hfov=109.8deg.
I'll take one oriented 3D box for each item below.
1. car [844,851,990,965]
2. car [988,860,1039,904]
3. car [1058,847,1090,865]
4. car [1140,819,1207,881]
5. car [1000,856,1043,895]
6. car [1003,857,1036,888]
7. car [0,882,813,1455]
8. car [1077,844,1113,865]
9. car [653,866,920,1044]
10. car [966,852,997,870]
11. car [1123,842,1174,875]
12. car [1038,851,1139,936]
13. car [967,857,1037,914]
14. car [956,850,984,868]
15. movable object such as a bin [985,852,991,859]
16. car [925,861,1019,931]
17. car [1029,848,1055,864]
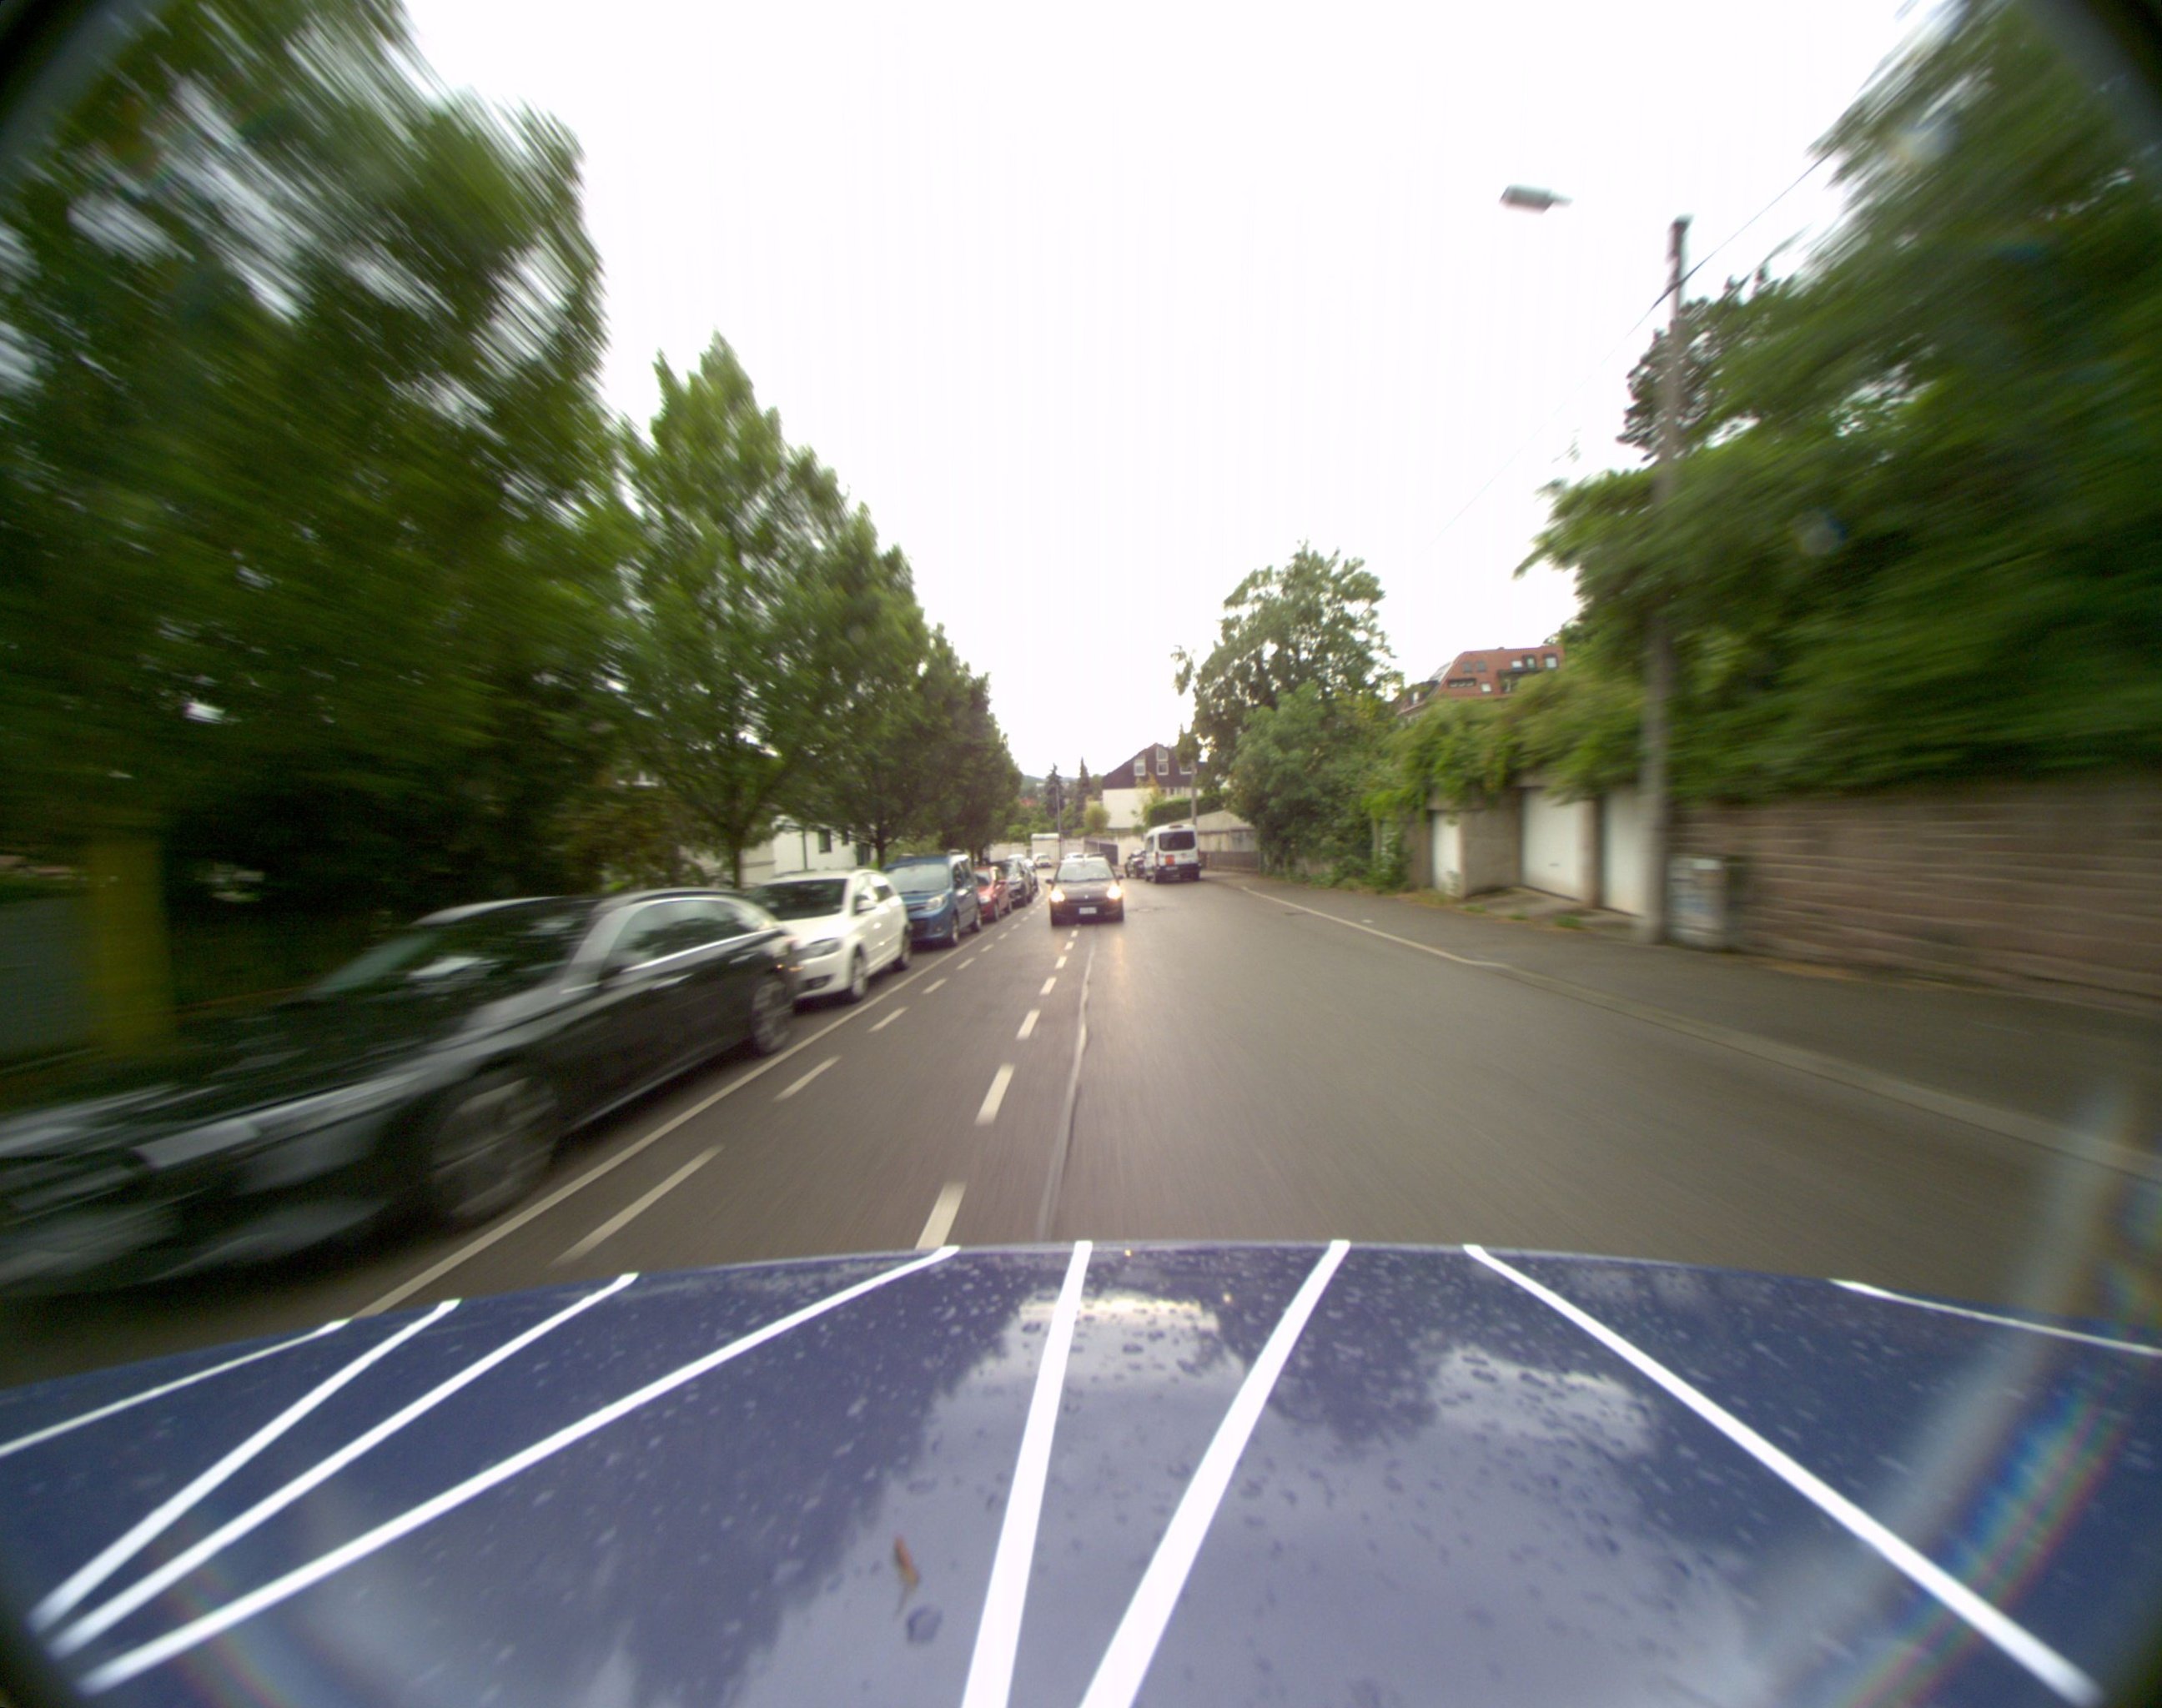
[{"bbox_3d":[-3.156,0.947,15.613,1.782,1.841,4.424,-5,1,1],"label":"car"},{"bbox_3d":[-2.676,1.094,31.143,1.647,1.416,4.286,-6,1,-1],"label":"car"},{"bbox_3d":[-0.657,0.133,67.842,1.839,1.432,4.034,-5,1,-15],"label":"car"},{"bbox_3d":[4.226,-0.195,35.837,2.100,2.535,6.095,-4,1,-1],"label":"car"},{"bbox_3d":[-2.888,1.019,37.717,1.781,1.544,4.726,-6,1,-2],"label":"car"},{"bbox_3d":[-3.617,1.040,43.914,1.659,1.511,3.997,-6,1,-6],"label":"car"},{"bbox_3d":[-3.694,1.146,4.837,1.998,1.528,4.849,-5,1,2],"label":"car"},{"bbox_3d":[1.065,0.032,61.146,1.719,1.451,4.676,-5,1,-13],"label":"car"},{"bbox_3d":[-3.505,1.082,10.006,1.788,1.600,4.223,-5,1,-1],"label":"car"},{"bbox_3d":[-9.739,0.700,74.144,1.869,1.461,5.047,-8,2,-19],"label":"car"},{"bbox_3d":[3.762,0.209,43.233,1.902,1.681,4.542,-4,1,-7],"label":"car"},{"bbox_3d":[0.237,0.786,17.260,1.892,1.521,4.057,-5,1,2],"label":"car"},{"bbox_3d":[-2.583,0.988,25.797,1.718,1.547,4.163,-6,1,1],"label":"car"},{"bbox_3d":[-11.628,0.507,79.622,2.061,1.647,5.228,-5,2,-16],"label":"car"},{"bbox_3d":[-13.212,0.202,107.675,0.609,0.987,0.601,-6,3,11],"label":"movable object such as a bin"},{"bbox_3d":[-2.855,1.066,20.787,1.652,1.473,4.020,-5,1,3],"label":"car"},{"bbox_3d":[-4.090,0.220,79.264,1.633,1.507,3.826,-5,1,-19],"label":"car"}]
